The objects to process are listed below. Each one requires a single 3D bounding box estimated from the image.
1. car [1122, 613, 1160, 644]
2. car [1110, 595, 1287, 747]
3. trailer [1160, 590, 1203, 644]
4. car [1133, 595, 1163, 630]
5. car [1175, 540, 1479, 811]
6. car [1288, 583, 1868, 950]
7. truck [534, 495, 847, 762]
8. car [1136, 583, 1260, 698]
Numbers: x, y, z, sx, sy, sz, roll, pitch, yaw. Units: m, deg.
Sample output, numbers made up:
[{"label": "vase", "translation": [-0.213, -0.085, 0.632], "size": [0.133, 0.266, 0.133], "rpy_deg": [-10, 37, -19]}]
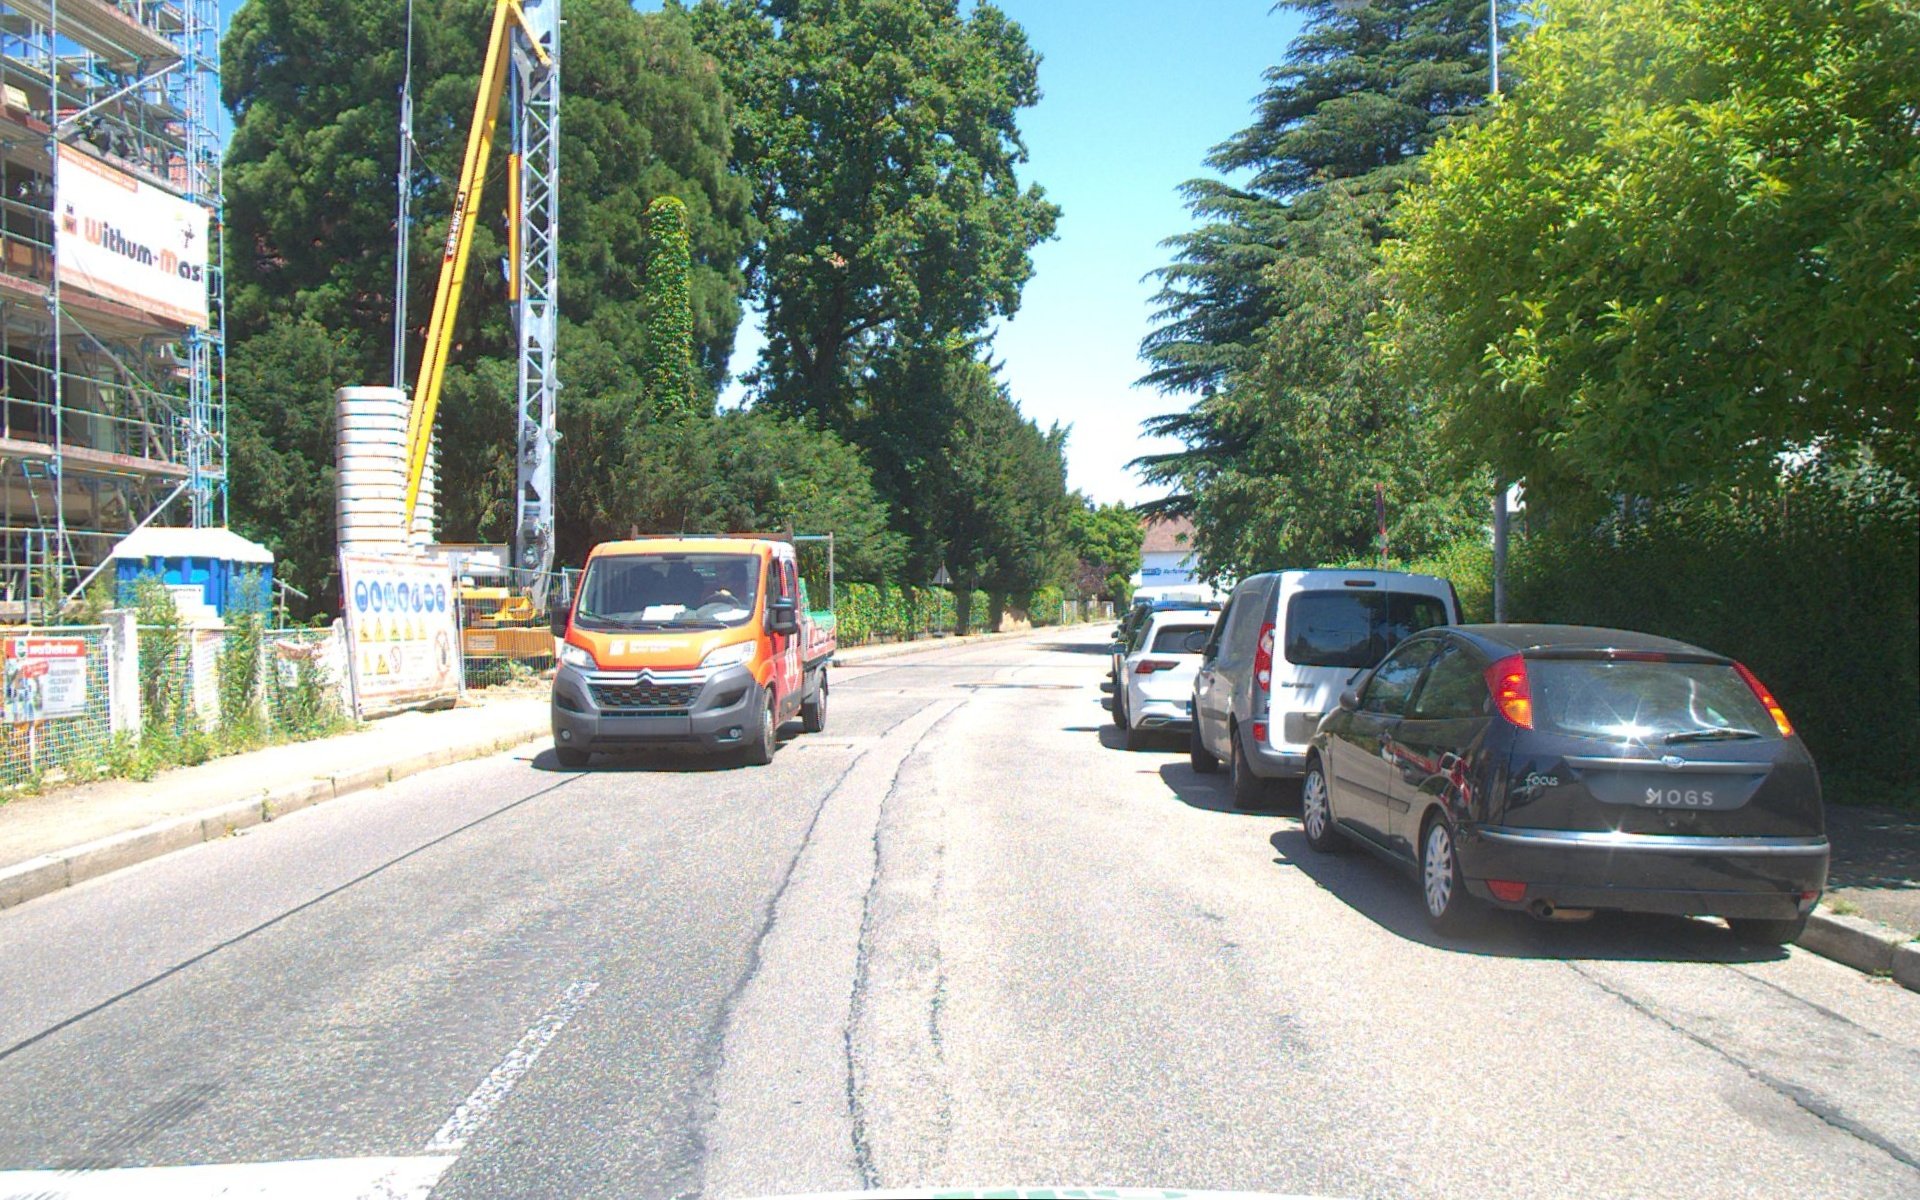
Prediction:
[{"label": "car", "translation": [9.990, 1.585, 91.094], "size": [1.756, 1.536, 4.003], "rpy_deg": [3, -1, 11]}, {"label": "car", "translation": [2.638, 0.764, 19.077], "size": [1.627, 1.460, 4.130], "rpy_deg": [3, -1, 4]}, {"label": "trailer", "translation": [9.172, 0.688, 68.405], "size": [1.644, 2.104, 3.711], "rpy_deg": [2, 0, 8]}, {"label": "car", "translation": [14.419, 0.995, 126.830], "size": [1.951, 2.577, 5.898], "rpy_deg": [1, -1, 9]}, {"label": "car", "translation": [2.888, 0.571, 13.880], "size": [1.627, 1.834, 4.203], "rpy_deg": [3, -1, 2]}, {"label": "car", "translation": [3.007, 0.733, 8.980], "size": [1.595, 1.489, 4.015], "rpy_deg": [2, -1, 0]}, {"label": "truck", "translation": [-2.630, 0.248, 17.969], "size": [2.083, 2.380, 6.436], "rpy_deg": [0, 0, 2]}, {"label": "car", "translation": [3.621, 0.616, 25.741], "size": [1.627, 1.565, 4.206], "rpy_deg": [2, -1, 5]}]
